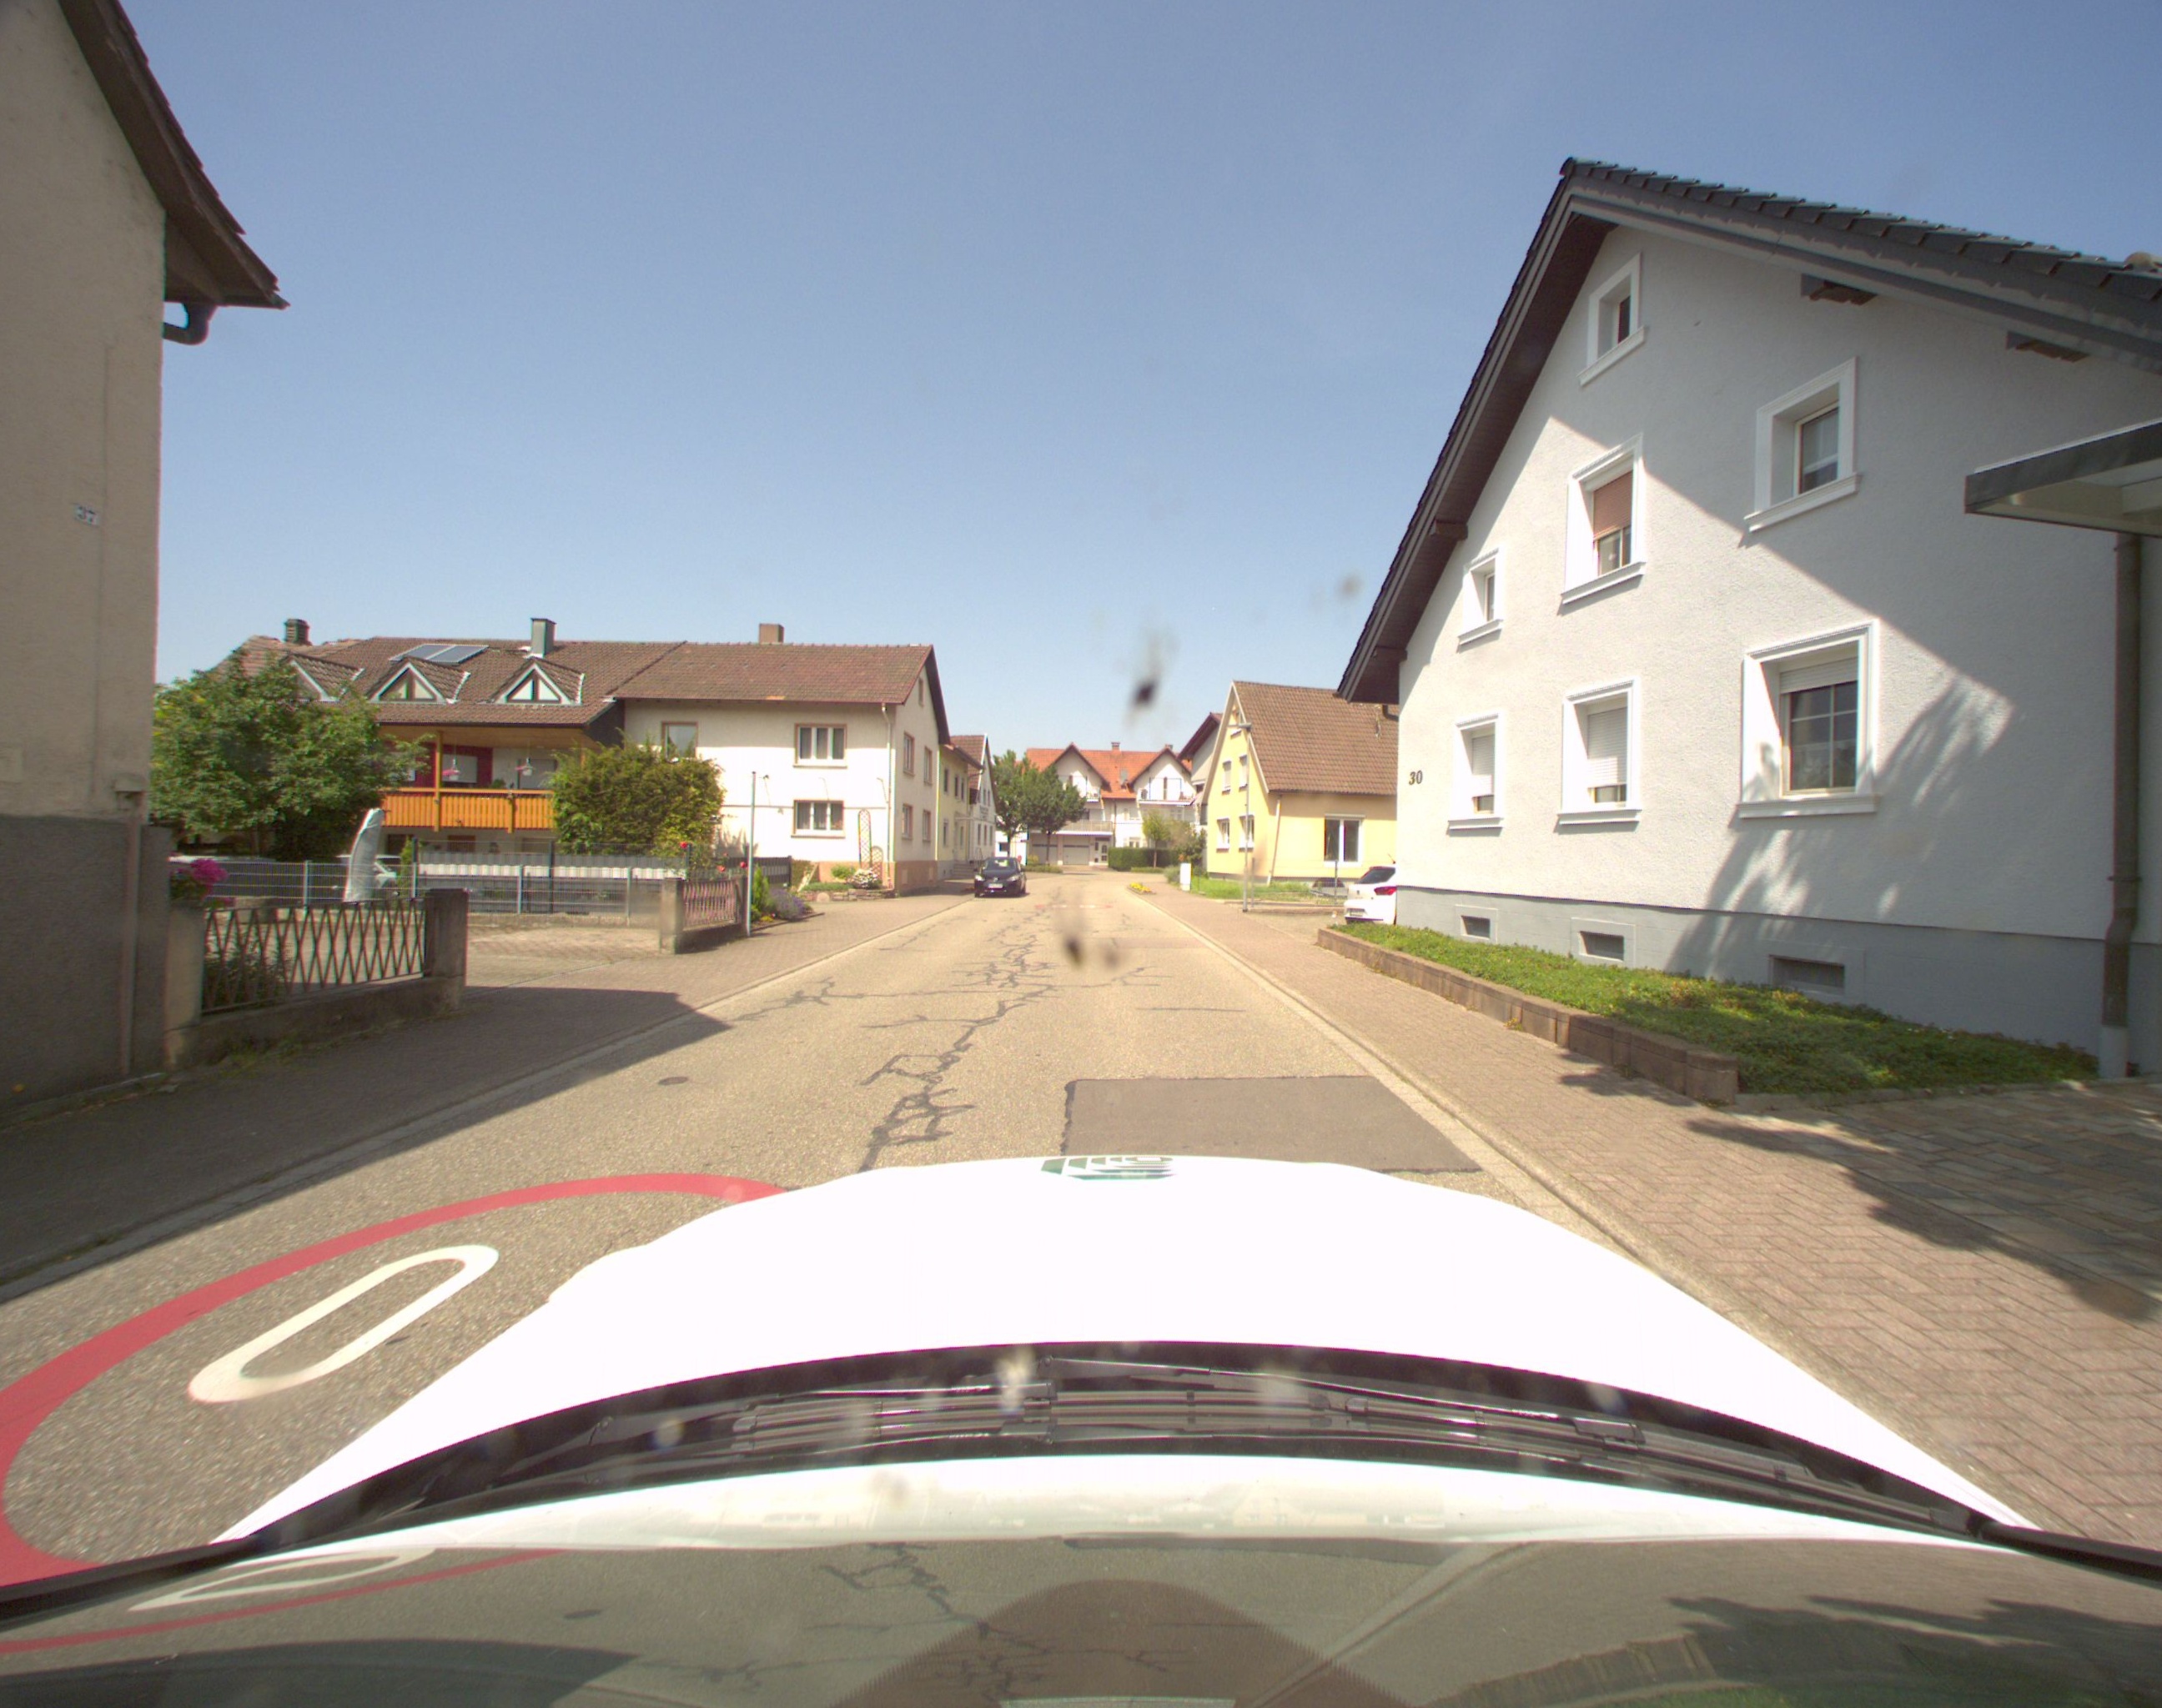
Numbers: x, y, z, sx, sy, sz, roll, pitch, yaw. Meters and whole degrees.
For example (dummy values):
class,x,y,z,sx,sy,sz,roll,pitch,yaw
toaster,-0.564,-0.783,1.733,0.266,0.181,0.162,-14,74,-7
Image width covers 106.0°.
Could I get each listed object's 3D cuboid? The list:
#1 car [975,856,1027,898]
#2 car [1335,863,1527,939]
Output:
class,x,y,z,sx,sy,sz,roll,pitch,yaw
car,-2.954,0.820,30.663,1.622,1.486,3.998,0,0,-1
car,6.525,0.848,15.323,3.040,1.345,1.419,0,-1,-7
